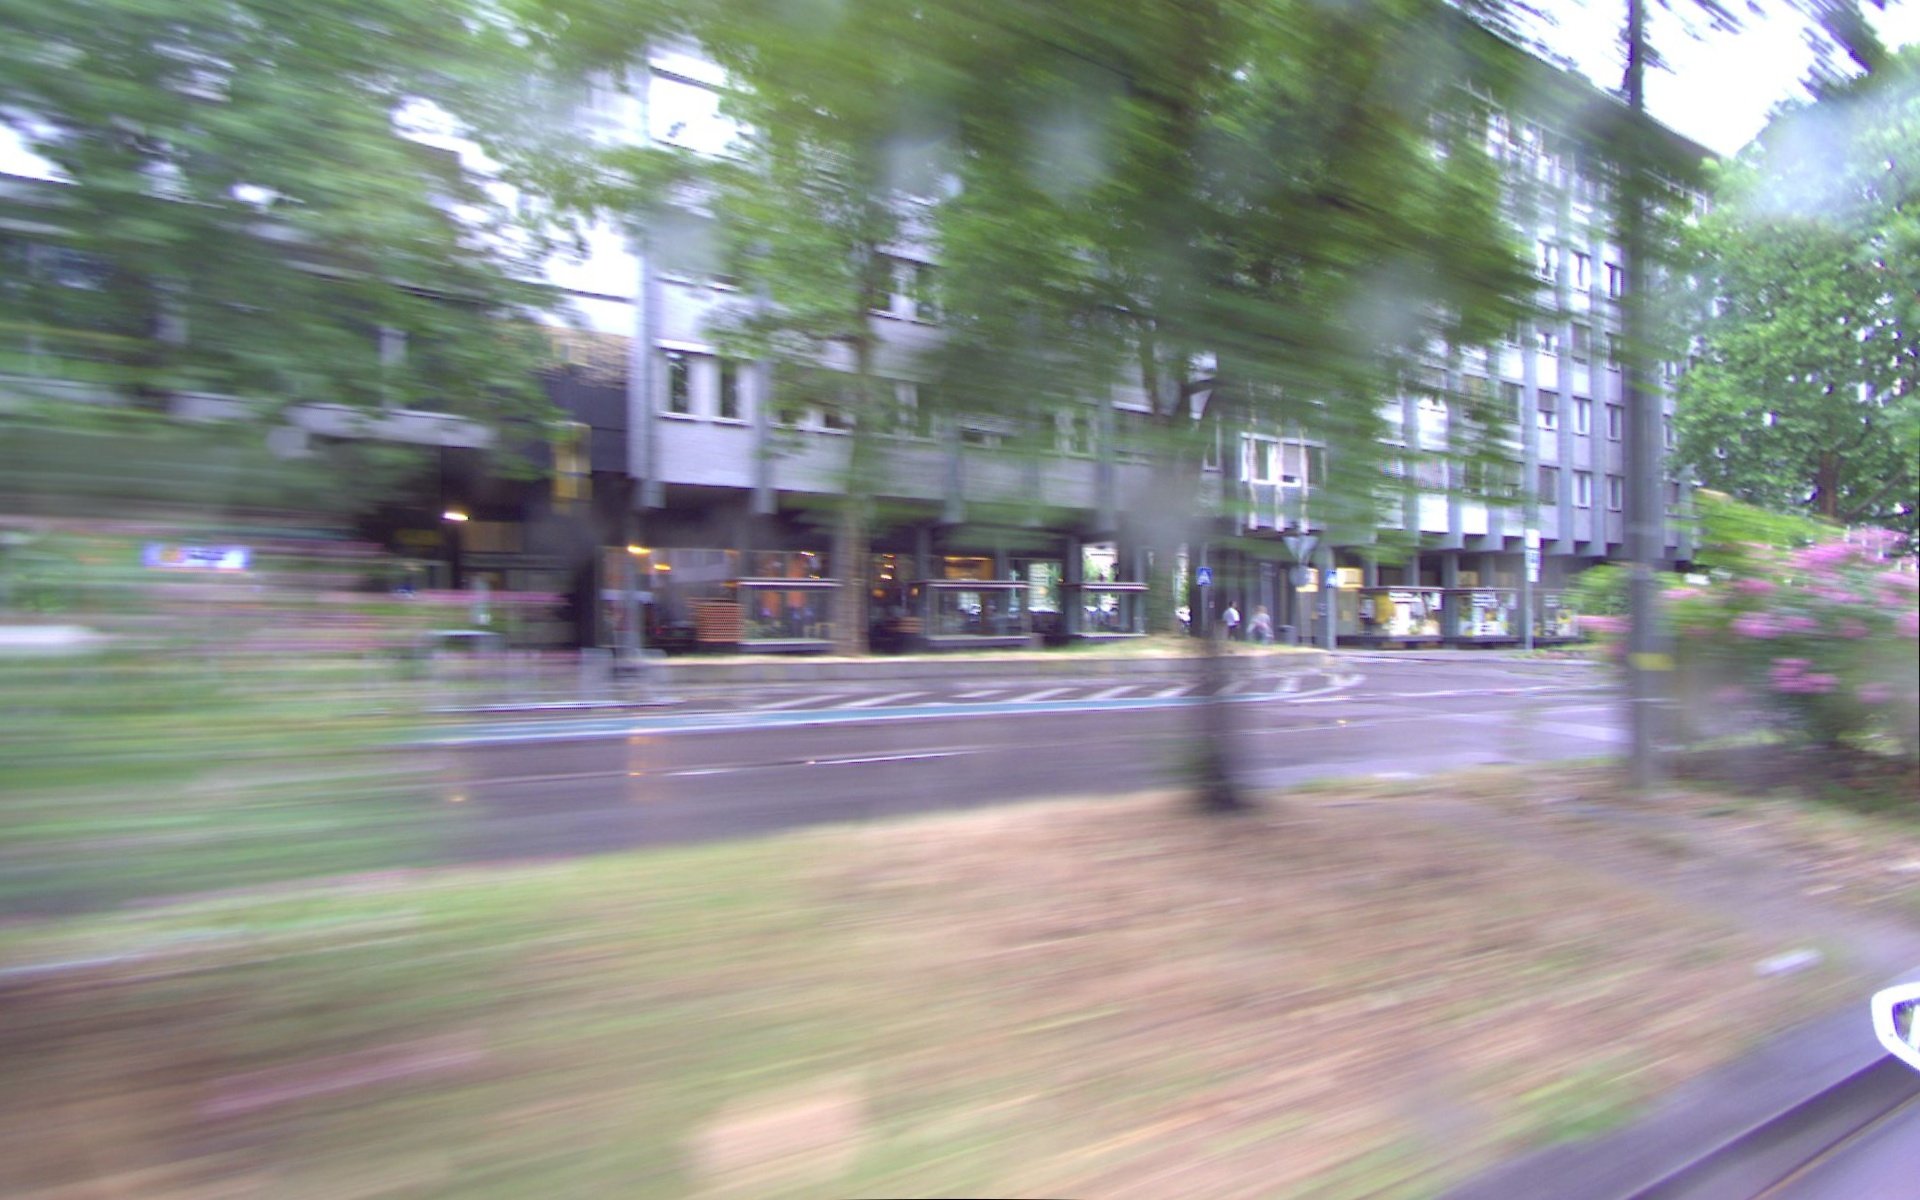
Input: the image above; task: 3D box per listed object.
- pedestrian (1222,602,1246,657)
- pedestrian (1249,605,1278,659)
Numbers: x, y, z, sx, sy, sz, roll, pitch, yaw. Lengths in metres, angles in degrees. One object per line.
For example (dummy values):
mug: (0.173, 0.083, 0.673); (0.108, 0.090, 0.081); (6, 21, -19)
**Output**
pedestrian: (9.142, 0.972, 33.489); (0.516, 1.831, 0.545); (1, 0, -30)
pedestrian: (9.890, 1.042, 32.727); (0.678, 1.731, 0.561); (1, 0, -30)
